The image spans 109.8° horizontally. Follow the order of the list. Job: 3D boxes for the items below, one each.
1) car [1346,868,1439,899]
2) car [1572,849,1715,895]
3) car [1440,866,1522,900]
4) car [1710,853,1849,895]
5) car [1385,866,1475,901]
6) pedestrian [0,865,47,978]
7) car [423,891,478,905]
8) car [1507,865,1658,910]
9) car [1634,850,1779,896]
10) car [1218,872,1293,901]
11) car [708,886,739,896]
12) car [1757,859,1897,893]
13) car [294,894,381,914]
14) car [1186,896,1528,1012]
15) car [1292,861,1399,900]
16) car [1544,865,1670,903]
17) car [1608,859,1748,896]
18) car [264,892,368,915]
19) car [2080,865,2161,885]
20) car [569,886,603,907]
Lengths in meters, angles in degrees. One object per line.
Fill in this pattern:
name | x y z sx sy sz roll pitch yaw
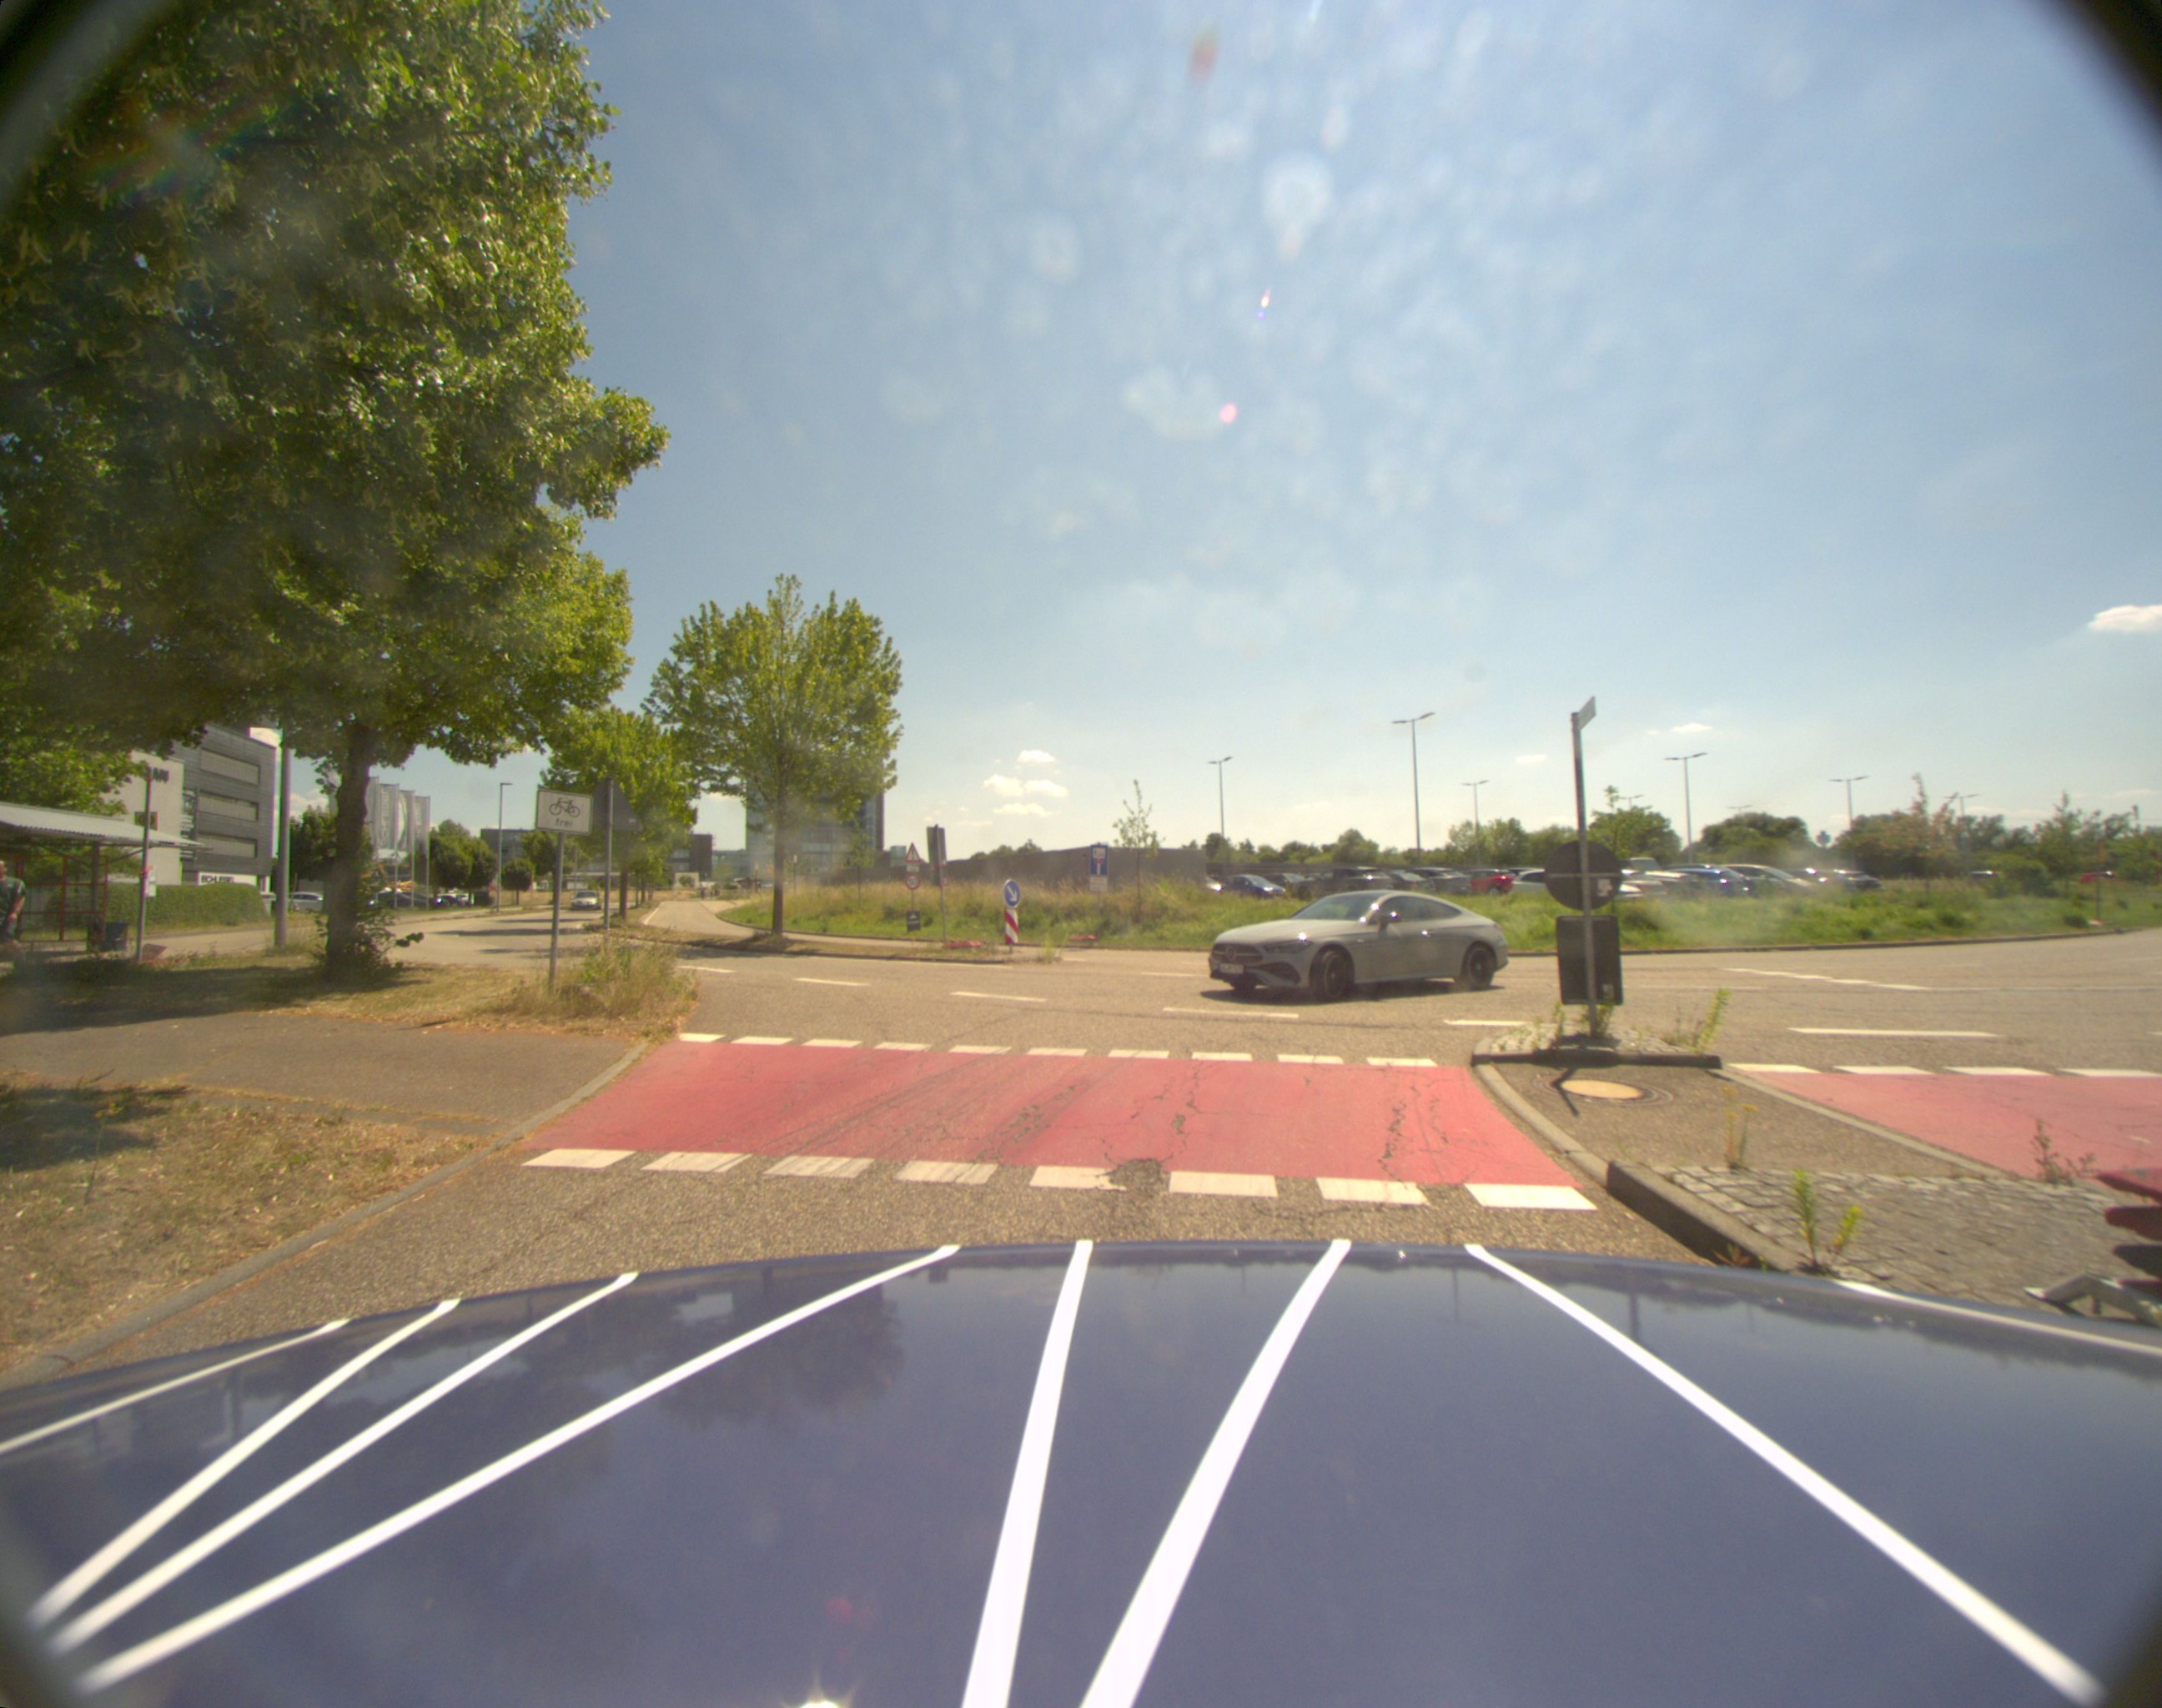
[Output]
car | 14.750 1.373 36.169 1.655 1.354 3.840 -1 -1 -30
car | 20.689 0.696 28.102 1.878 1.518 3.743 -2 -2 -23
car | 20.889 1.553 39.757 1.525 1.563 3.414 -1 -4 -32
car | 28.354 0.820 30.972 1.620 1.614 3.841 0 -1 -31
car | 17.124 1.419 37.433 1.772 1.588 3.632 0 -1 -30
pedestrian | -16.136 1.018 11.365 0.579 1.659 0.531 -3 -3 -1
car | -62.573 4.349 75.464 3.898 1.266 1.702 0 -1 -29
car | 16.495 1.121 25.194 1.577 1.289 3.871 -2 -2 -27
car | 25.050 0.800 30.571 1.690 1.420 4.035 -1 -7 -31
car | 9.079 1.691 39.711 1.656 1.437 3.631 0 -2 -36
car | -50.828 5.279 108.073 3.850 1.266 1.606 0 -1 -29
car | 33.232 1.010 33.976 1.911 1.283 3.994 -1 -4 -27
car | -50.437 3.399 51.623 3.898 1.175 1.702 0 -1 -29
car | 3.994 1.323 10.925 4.640 1.374 1.896 2 -4 -26
car | 12.180 1.274 35.284 1.780 1.679 4.596 1 -4 -30
car | 18.412 1.073 26.740 1.503 1.174 3.265 -2 -2 -28
car | 23.082 0.943 29.523 1.588 1.249 3.939 -2 -2 -31
car | -47.401 3.088 47.186 4.283 1.175 1.491 -1 -4 -29
car | 83.322 1.688 60.742 1.649 1.342 3.993 -1 -4 -32
car | -39.025 3.396 59.972 1.682 1.495 3.568 -1 -4 -25
